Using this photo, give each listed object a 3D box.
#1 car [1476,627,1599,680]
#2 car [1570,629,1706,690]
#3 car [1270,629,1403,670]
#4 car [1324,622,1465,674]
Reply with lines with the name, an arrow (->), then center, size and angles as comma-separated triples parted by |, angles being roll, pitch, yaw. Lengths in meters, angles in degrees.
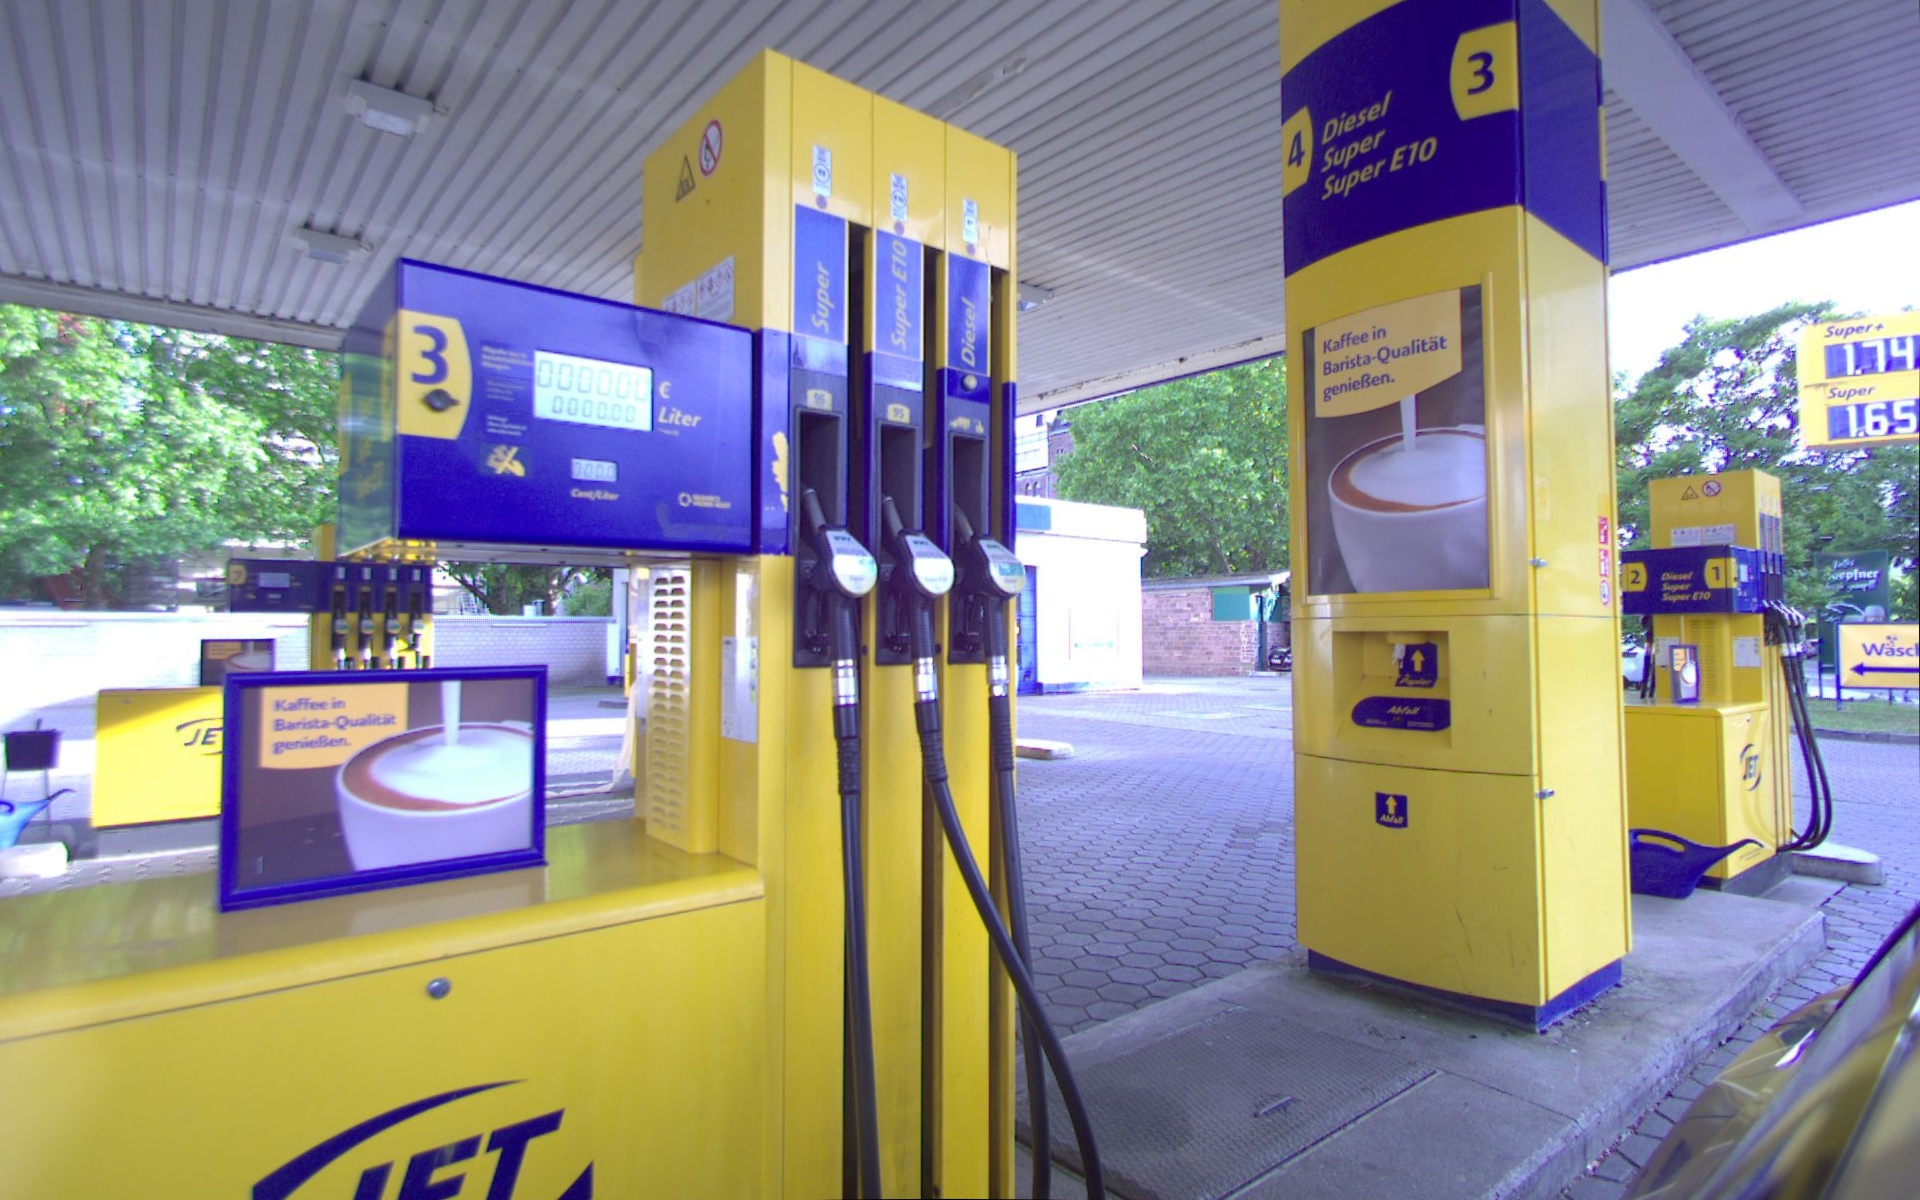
car -> 17.564, 1.637, 30.755 | 3.923, 1.529, 1.740 | 3, -3, -35
car -> 18.229, 1.559, 27.168 | 3.923, 1.529, 1.740 | 2, -3, -35
car -> 12.838, 1.693, 34.504 | 4.134, 1.294, 1.751 | 2, -3, -22
car -> 13.797, 1.543, 32.155 | 4.134, 1.544, 1.791 | 2, -3, -24
